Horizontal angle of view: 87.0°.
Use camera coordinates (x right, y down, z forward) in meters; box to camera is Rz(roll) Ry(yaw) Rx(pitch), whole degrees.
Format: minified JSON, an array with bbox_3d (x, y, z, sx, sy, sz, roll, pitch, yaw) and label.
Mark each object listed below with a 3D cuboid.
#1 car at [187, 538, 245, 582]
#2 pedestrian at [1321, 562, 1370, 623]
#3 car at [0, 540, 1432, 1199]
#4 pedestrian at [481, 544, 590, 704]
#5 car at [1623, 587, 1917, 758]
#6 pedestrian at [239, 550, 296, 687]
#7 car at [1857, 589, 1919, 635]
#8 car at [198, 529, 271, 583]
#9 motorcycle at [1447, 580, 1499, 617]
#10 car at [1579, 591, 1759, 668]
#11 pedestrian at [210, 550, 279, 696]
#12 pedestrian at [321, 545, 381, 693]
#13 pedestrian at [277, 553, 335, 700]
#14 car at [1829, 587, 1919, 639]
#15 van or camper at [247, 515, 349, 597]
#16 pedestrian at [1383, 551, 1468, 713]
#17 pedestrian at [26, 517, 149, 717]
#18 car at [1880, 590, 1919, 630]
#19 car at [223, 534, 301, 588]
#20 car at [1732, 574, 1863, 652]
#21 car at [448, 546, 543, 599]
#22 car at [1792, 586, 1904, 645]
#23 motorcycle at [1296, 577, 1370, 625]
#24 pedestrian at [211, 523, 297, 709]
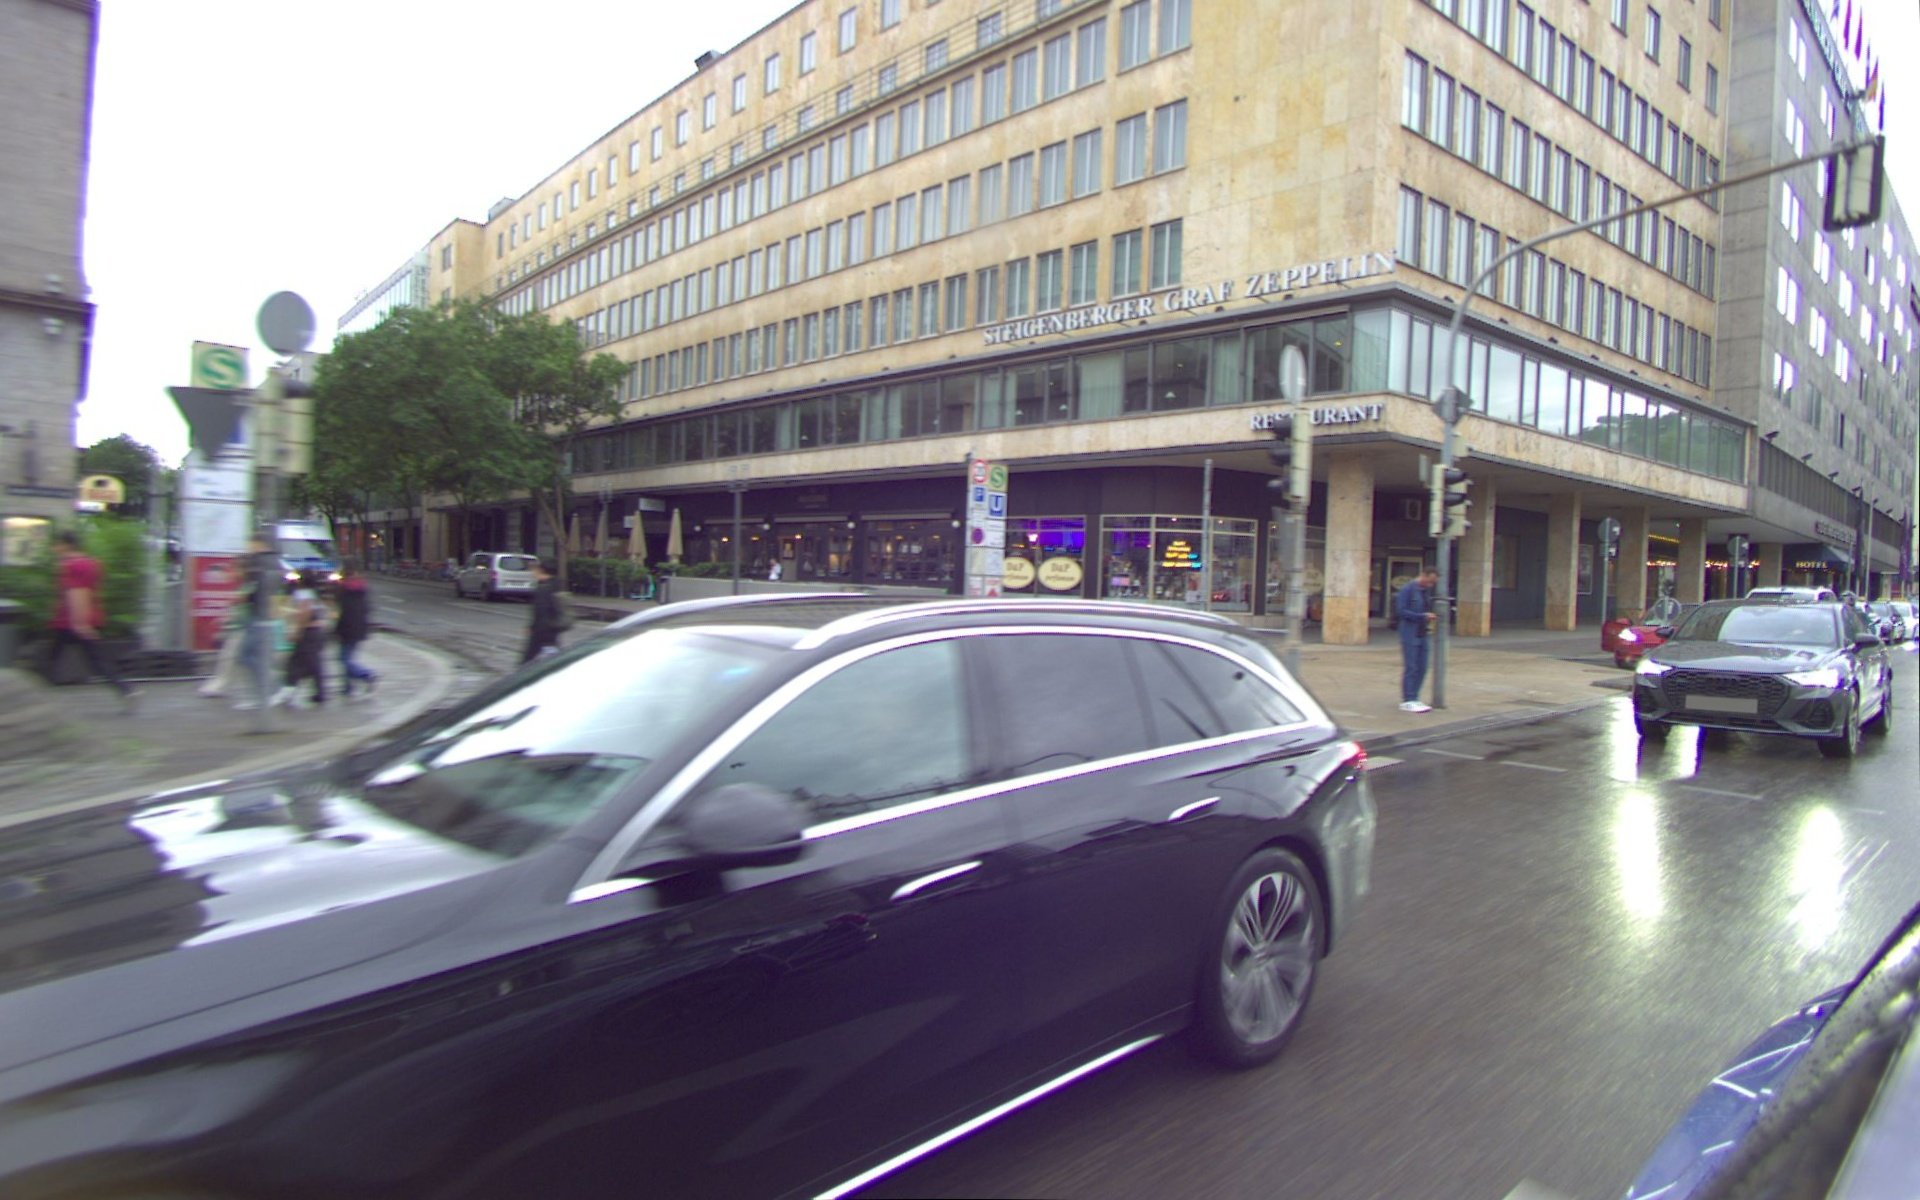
[{"bbox_3d":[-38.322,-2.052,52.065,2.061,2.128,4.295,0,1,-41],"label":"car"},{"bbox_3d":[12.190,-0.251,32.019,1.089,1.870,1.001,0,2,-39],"label":"pedestrian"},{"bbox_3d":[-0.548,0.645,2.992,4.618,1.482,1.821,0,1,-41],"label":"car"},{"bbox_3d":[-5.018,0.260,11.959,0.968,1.784,0.894,1,0,-38],"label":"pedestrian"},{"bbox_3d":[9.142,0.655,11.309,4.092,1.527,1.875,0,1,-41],"label":"car"},{"bbox_3d":[-8.113,0.208,11.859,0.504,1.565,0.425,1,0,-38],"label":"pedestrian"},{"bbox_3d":[36.806,0.448,39.559,4.791,1.629,1.997,0,1,-41],"label":"car"},{"bbox_3d":[-33.365,-1.992,46.503,2.293,2.324,4.691,0,1,-41],"label":"car"},{"bbox_3d":[18.044,-0.038,35.544,2.492,1.246,0.730,0,1,-41],"label":"motorcycle"},{"bbox_3d":[15.323,0.560,21.780,4.404,1.431,2.192,0,1,-41],"label":"car"},{"bbox_3d":[-7.912,0.240,11.193,0.580,1.548,0.555,1,0,-38],"label":"pedestrian"},{"bbox_3d":[-7.027,0.209,11.671,0.486,1.650,0.627,1,0,-39],"label":"pedestrian"},{"bbox_3d":[-7.090,0.276,10.965,0.462,1.540,0.500,1,0,-38],"label":"pedestrian"},{"bbox_3d":[32.337,0.422,35.665,4.481,1.656,1.997,0,1,-41],"label":"car"},{"bbox_3d":[-23.814,-1.522,36.288,2.452,2.673,6.006,0,1,-39],"label":"van or camper"},{"bbox_3d":[5.808,0.375,12.637,0.779,1.943,0.674,1,0,-41],"label":"pedestrian"},{"bbox_3d":[-8.210,0.146,9.526,0.823,1.773,0.698,1,0,-44],"label":"pedestrian"},{"bbox_3d":[40.949,0.418,43.181,4.833,1.635,1.997,0,1,-41],"label":"car"},{"bbox_3d":[-29.063,-1.610,42.067,2.126,2.073,4.406,0,1,-42],"label":"car"},{"bbox_3d":[22.882,0.316,27.588,4.910,1.908,1.997,0,1,-41],"label":"car"},{"bbox_3d":[-18.482,-1.109,40.169,1.965,1.950,5.157,1,1,-42],"label":"car"},{"bbox_3d":[27.934,0.457,31.776,5.045,1.674,1.997,0,1,-41],"label":"car"},{"bbox_3d":[11.924,0.017,32.319,2.801,1.471,0.963,0,1,-41],"label":"motorcycle"},{"bbox_3d":[-7.163,0.154,10.269,0.669,1.812,0.536,1,0,-39],"label":"pedestrian"}]
